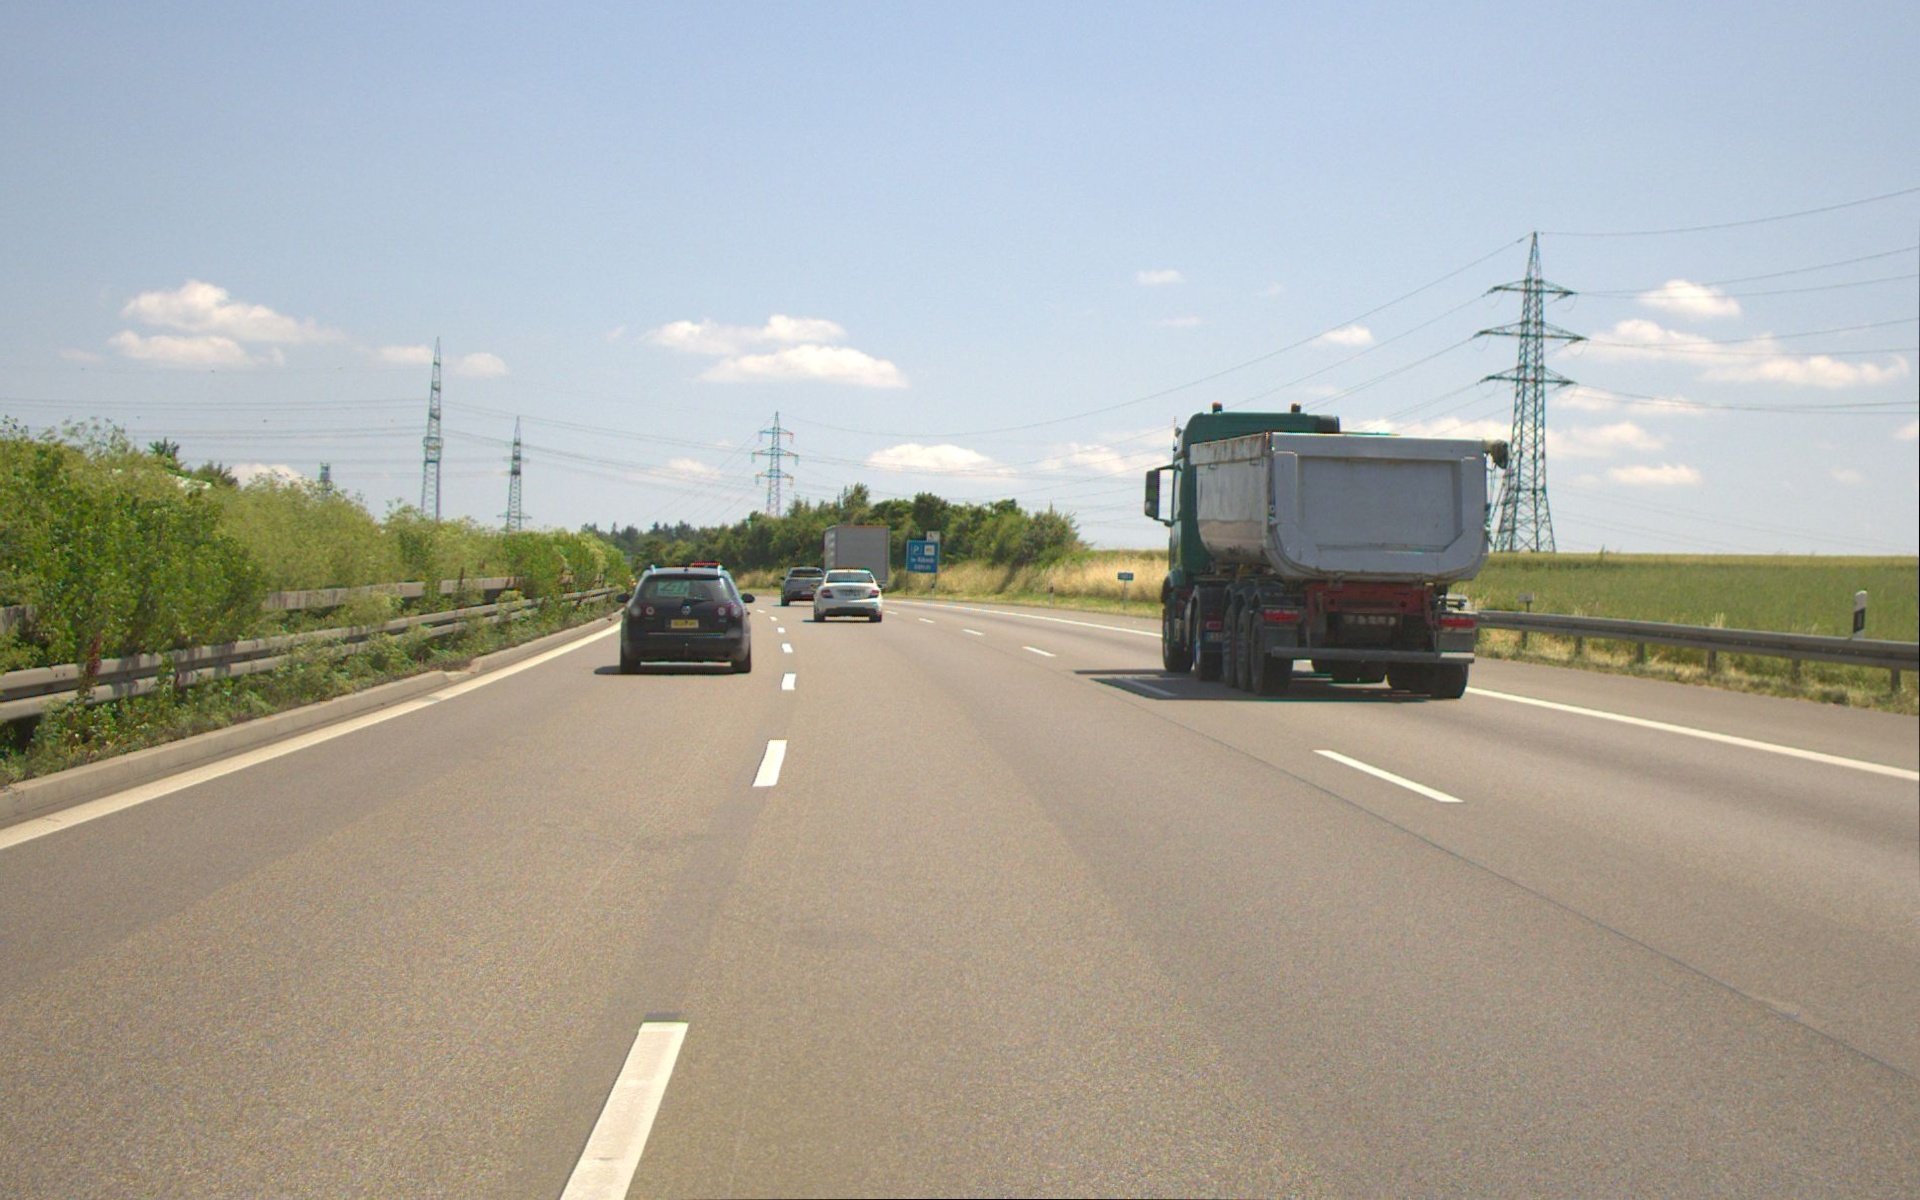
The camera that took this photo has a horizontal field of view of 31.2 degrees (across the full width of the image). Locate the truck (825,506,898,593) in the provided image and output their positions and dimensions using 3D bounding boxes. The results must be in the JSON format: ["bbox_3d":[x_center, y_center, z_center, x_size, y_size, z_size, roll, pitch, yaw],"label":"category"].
[{"bbox_3d":[-4.713,-2.325,162.934,3.221,3.911,9.061,1,0,-3],"label":"truck"}]

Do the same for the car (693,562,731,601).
[{"bbox_3d":[-12.661,-0.948,175.196,1.901,1.919,4.001,0,1,-5],"label":"car"}]

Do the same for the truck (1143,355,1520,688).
[{"bbox_3d":[4.498,-0.942,44.878,2.865,3.711,12.764,0,1,-3],"label":"truck"}]

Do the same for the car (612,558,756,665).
[{"bbox_3d":[-3.812,0.130,48.075,1.756,1.424,4.000,0,1,-1],"label":"car"}]

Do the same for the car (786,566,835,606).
[{"bbox_3d":[-5.835,-0.556,133.909,1.838,1.535,3.915,0,1,-3],"label":"car"}]

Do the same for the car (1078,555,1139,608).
[{"bbox_3d":[5.229,-0.664,121.470,1.993,1.846,4.000,0,1,0],"label":"car"}]

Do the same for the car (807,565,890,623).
[{"bbox_3d":[-3.043,-0.176,93.411,1.819,1.535,3.915,0,1,-8],"label":"car"}]
